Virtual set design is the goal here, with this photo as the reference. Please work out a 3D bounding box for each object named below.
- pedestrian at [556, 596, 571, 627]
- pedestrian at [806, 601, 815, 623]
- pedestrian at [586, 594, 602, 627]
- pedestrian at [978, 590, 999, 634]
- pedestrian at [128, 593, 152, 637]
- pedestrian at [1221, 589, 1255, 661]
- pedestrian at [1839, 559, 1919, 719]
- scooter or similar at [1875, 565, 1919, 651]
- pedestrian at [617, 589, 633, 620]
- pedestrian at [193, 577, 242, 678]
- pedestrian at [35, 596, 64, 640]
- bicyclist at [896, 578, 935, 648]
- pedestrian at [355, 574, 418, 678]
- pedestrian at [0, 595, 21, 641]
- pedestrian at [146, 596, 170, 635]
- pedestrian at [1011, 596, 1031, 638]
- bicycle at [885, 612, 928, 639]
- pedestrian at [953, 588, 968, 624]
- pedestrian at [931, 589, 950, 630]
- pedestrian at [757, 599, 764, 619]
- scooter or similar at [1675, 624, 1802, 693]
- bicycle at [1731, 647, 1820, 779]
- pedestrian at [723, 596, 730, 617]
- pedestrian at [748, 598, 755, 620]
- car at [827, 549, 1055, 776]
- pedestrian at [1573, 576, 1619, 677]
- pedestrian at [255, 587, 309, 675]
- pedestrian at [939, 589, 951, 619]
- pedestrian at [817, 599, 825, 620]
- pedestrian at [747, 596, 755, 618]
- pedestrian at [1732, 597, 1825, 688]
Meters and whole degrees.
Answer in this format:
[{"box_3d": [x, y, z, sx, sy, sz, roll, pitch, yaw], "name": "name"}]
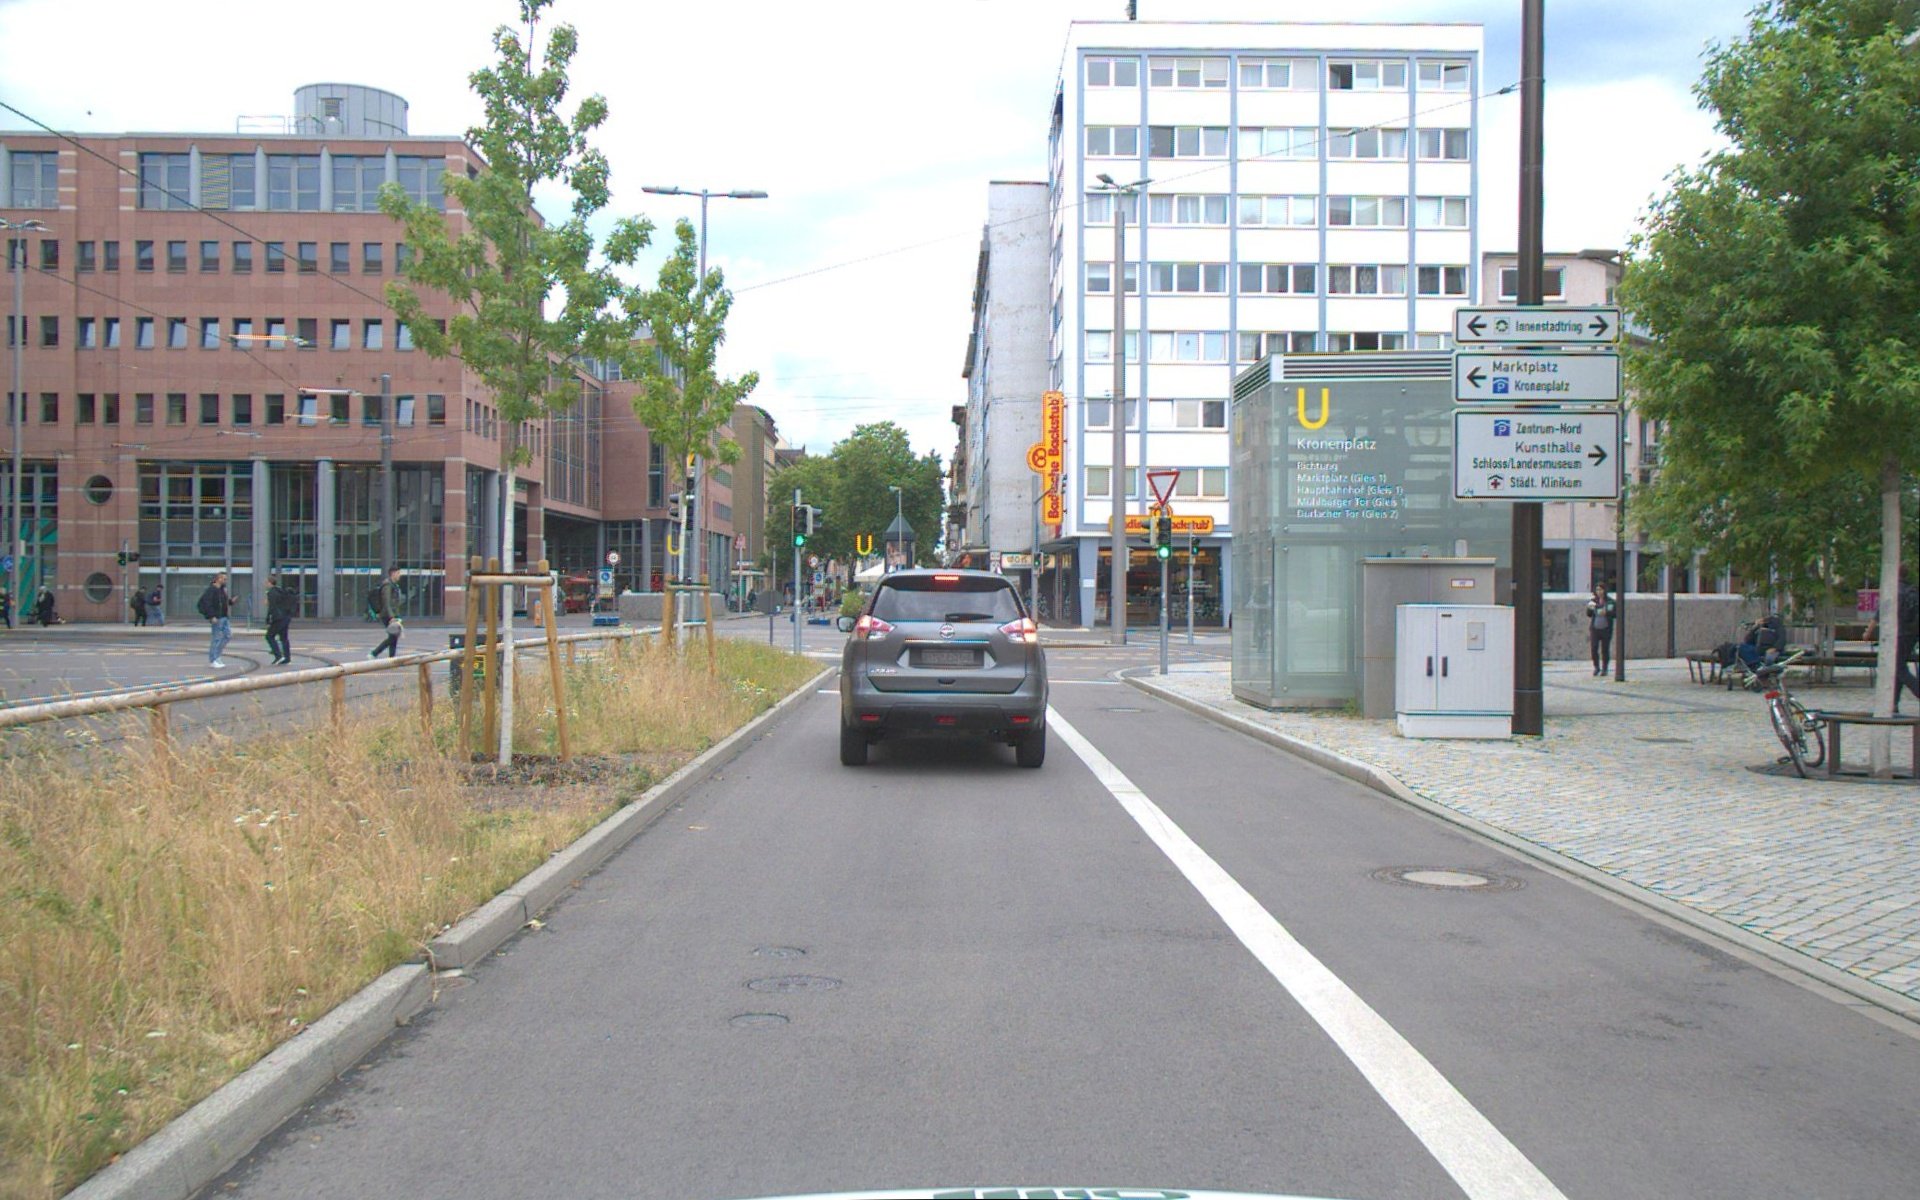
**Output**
[{"box_3d": [-23.877, 0.702, 99.686, 0.723, 1.874, 0.697, 1, 0, -26], "name": "pedestrian"}, {"box_3d": [-10.904, 0.895, 120.912, 0.589, 1.563, 0.654, 1, 0, -8], "name": "pedestrian"}, {"box_3d": [-21.110, 0.595, 95.358, 0.724, 1.874, 0.696, 1, 0, -29], "name": "pedestrian"}, {"box_3d": [1.188, 0.505, 69.935, 0.699, 1.864, 1.015, 1, 0, -9], "name": "pedestrian"}, {"box_3d": [-32.815, 0.611, 66.189, 0.730, 1.717, 0.571, 1, -2, -17], "name": "pedestrian"}, {"box_3d": [7.076, 0.633, 42.095, 0.609, 1.792, 0.778, 1, 0, -9], "name": "pedestrian"}, {"box_3d": [11.145, 0.450, 19.681, 0.699, 1.834, 1.077, -3, -1, -2], "name": "pedestrian"}, {"box_3d": [21.083, 0.160, 36.218, 1.061, 1.838, 2.276, -1, 0, 7], "name": "scooter or similar"}, {"box_3d": [-20.378, 0.298, 100.570, 0.685, 1.874, 0.735, 1, 0, 18], "name": "pedestrian"}, {"box_3d": [-14.329, 0.538, 31.947, 0.598, 1.923, 0.798, 0, -1, -3], "name": "pedestrian"}, {"box_3d": [-32.981, 0.665, 59.908, 0.560, 1.588, 0.744, 1, -2, 4], "name": "pedestrian"}, {"box_3d": [-1.199, 0.342, 44.454, 0.821, 1.844, 0.873, 1, 0, -18], "name": "bicyclist"}, {"box_3d": [-10.878, 0.491, 31.378, 0.879, 1.923, 0.798, 2, -1, -3], "name": "pedestrian"}, {"box_3d": [-33.285, 0.632, 57.808, 0.562, 1.602, 0.628, 1, -2, -9], "name": "pedestrian"}, {"box_3d": [-32.559, 0.631, 67.141, 0.728, 1.588, 0.573, 1, -2, -11], "name": "pedestrian"}, {"box_3d": [2.581, 0.715, 69.978, 0.695, 1.734, 0.735, 1, 0, 11], "name": "pedestrian"}, {"box_3d": [-2.368, 1.146, 73.810, 1.836, 1.192, 0.529, 1, 0, -16], "name": "bicycle"}, {"box_3d": [0.029, 0.306, 86.406, 0.723, 1.853, 0.662, 0, 0, -3], "name": "pedestrian"}, {"box_3d": [-0.863, 0.424, 73.324, 0.718, 1.776, 0.662, 1, 0, -9], "name": "pedestrian"}, {"box_3d": [-17.427, 0.759, 144.629, 0.589, 1.744, 0.654, 1, 0, -8], "name": "pedestrian"}, {"box_3d": [11.425, 0.852, 24.285, 1.561, 0.965, 0.722, -2, 0, 37], "name": "scooter or similar"}, {"box_3d": [7.021, 0.934, 14.223, 0.645, 0.995, 1.752, 0, 0, 27], "name": "bicycle"}, {"box_3d": [-19.662, 0.523, 139.325, 0.589, 1.744, 0.654, 1, 0, -8], "name": "pedestrian"}, {"box_3d": [-16.930, 0.722, 134.237, 0.589, 1.744, 0.654, 1, 0, -8], "name": "pedestrian"}, {"box_3d": [-0.094, 0.568, 15.750, 1.824, 1.806, 4.567, -1, -2, 1], "name": "car"}, {"box_3d": [11.399, 0.469, 29.657, 0.657, 1.792, 0.642, 1, 0, 14], "name": "pedestrian"}, {"box_3d": [-13.541, 0.612, 33.053, 0.729, 1.713, 0.798, 2, -1, -5], "name": "pedestrian"}, {"box_3d": [-0.881, 0.227, 96.372, 0.630, 1.734, 0.559, 1, 0, 0], "name": "pedestrian"}, {"box_3d": [-11.560, 0.818, 137.721, 0.589, 1.744, 0.654, 1, 0, -8], "name": "pedestrian"}, {"box_3d": [-16.359, 0.555, 129.196, 0.589, 1.744, 0.654, 1, 0, -8], "name": "pedestrian"}, {"box_3d": [12.360, 0.630, 25.000, 1.022, 1.320, 0.733, -2, 0, 4], "name": "pedestrian"}]
